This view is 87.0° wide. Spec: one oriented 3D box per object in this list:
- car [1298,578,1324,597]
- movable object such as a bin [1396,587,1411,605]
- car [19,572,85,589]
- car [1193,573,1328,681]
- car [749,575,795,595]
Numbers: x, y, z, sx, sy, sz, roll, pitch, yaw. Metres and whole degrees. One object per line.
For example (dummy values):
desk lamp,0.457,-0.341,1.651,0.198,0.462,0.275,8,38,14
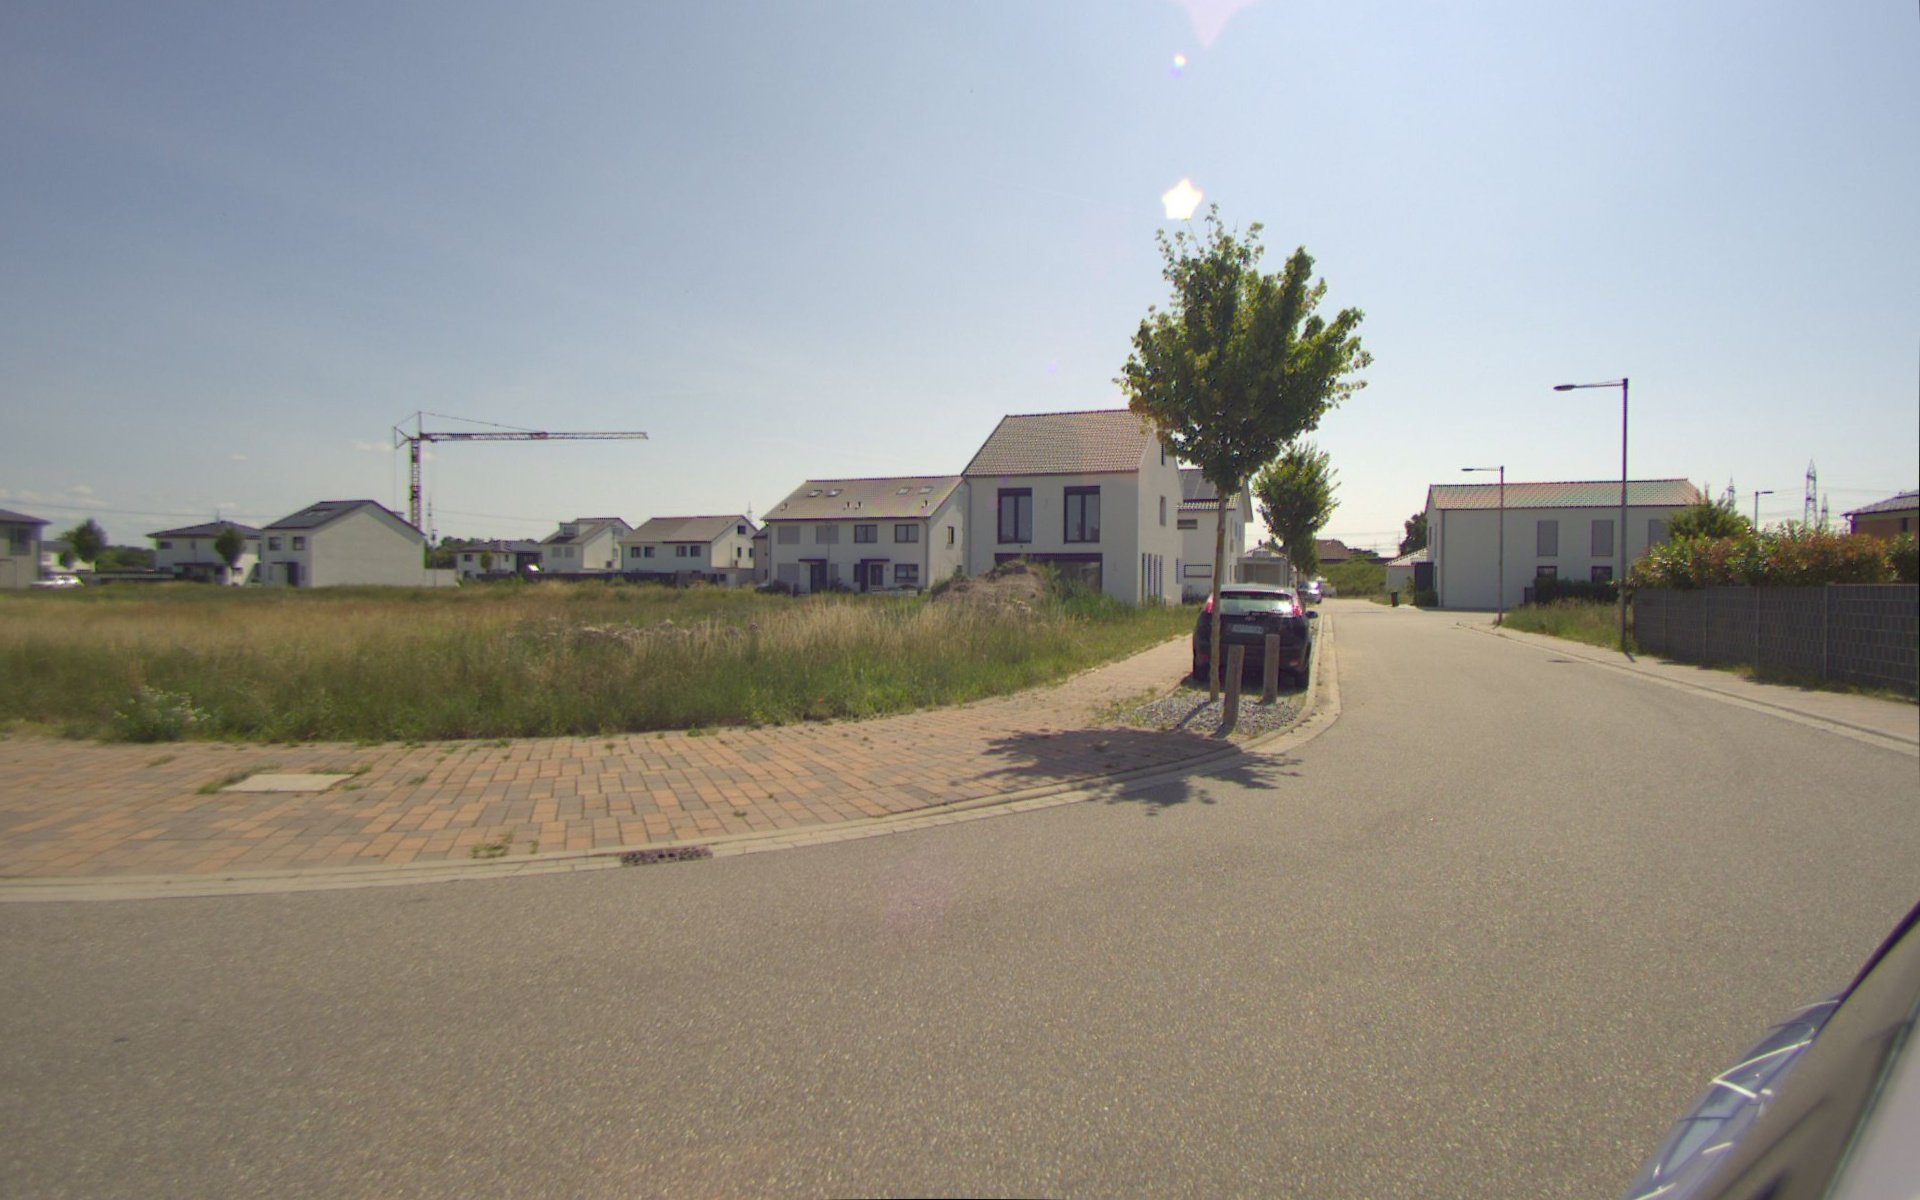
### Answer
car,28.646,-1.027,82.567,1.903,1.438,4.390,1,1,21
movable object such as a bin,28.388,-0.256,64.789,0.799,1.112,0.667,1,1,23
car,-76.486,-1.631,85.298,1.721,1.415,3.991,0,1,8
car,4.787,0.366,16.403,1.823,1.512,4.174,0,0,15
car,-15.304,-1.247,82.520,1.796,1.593,3.965,1,1,25
